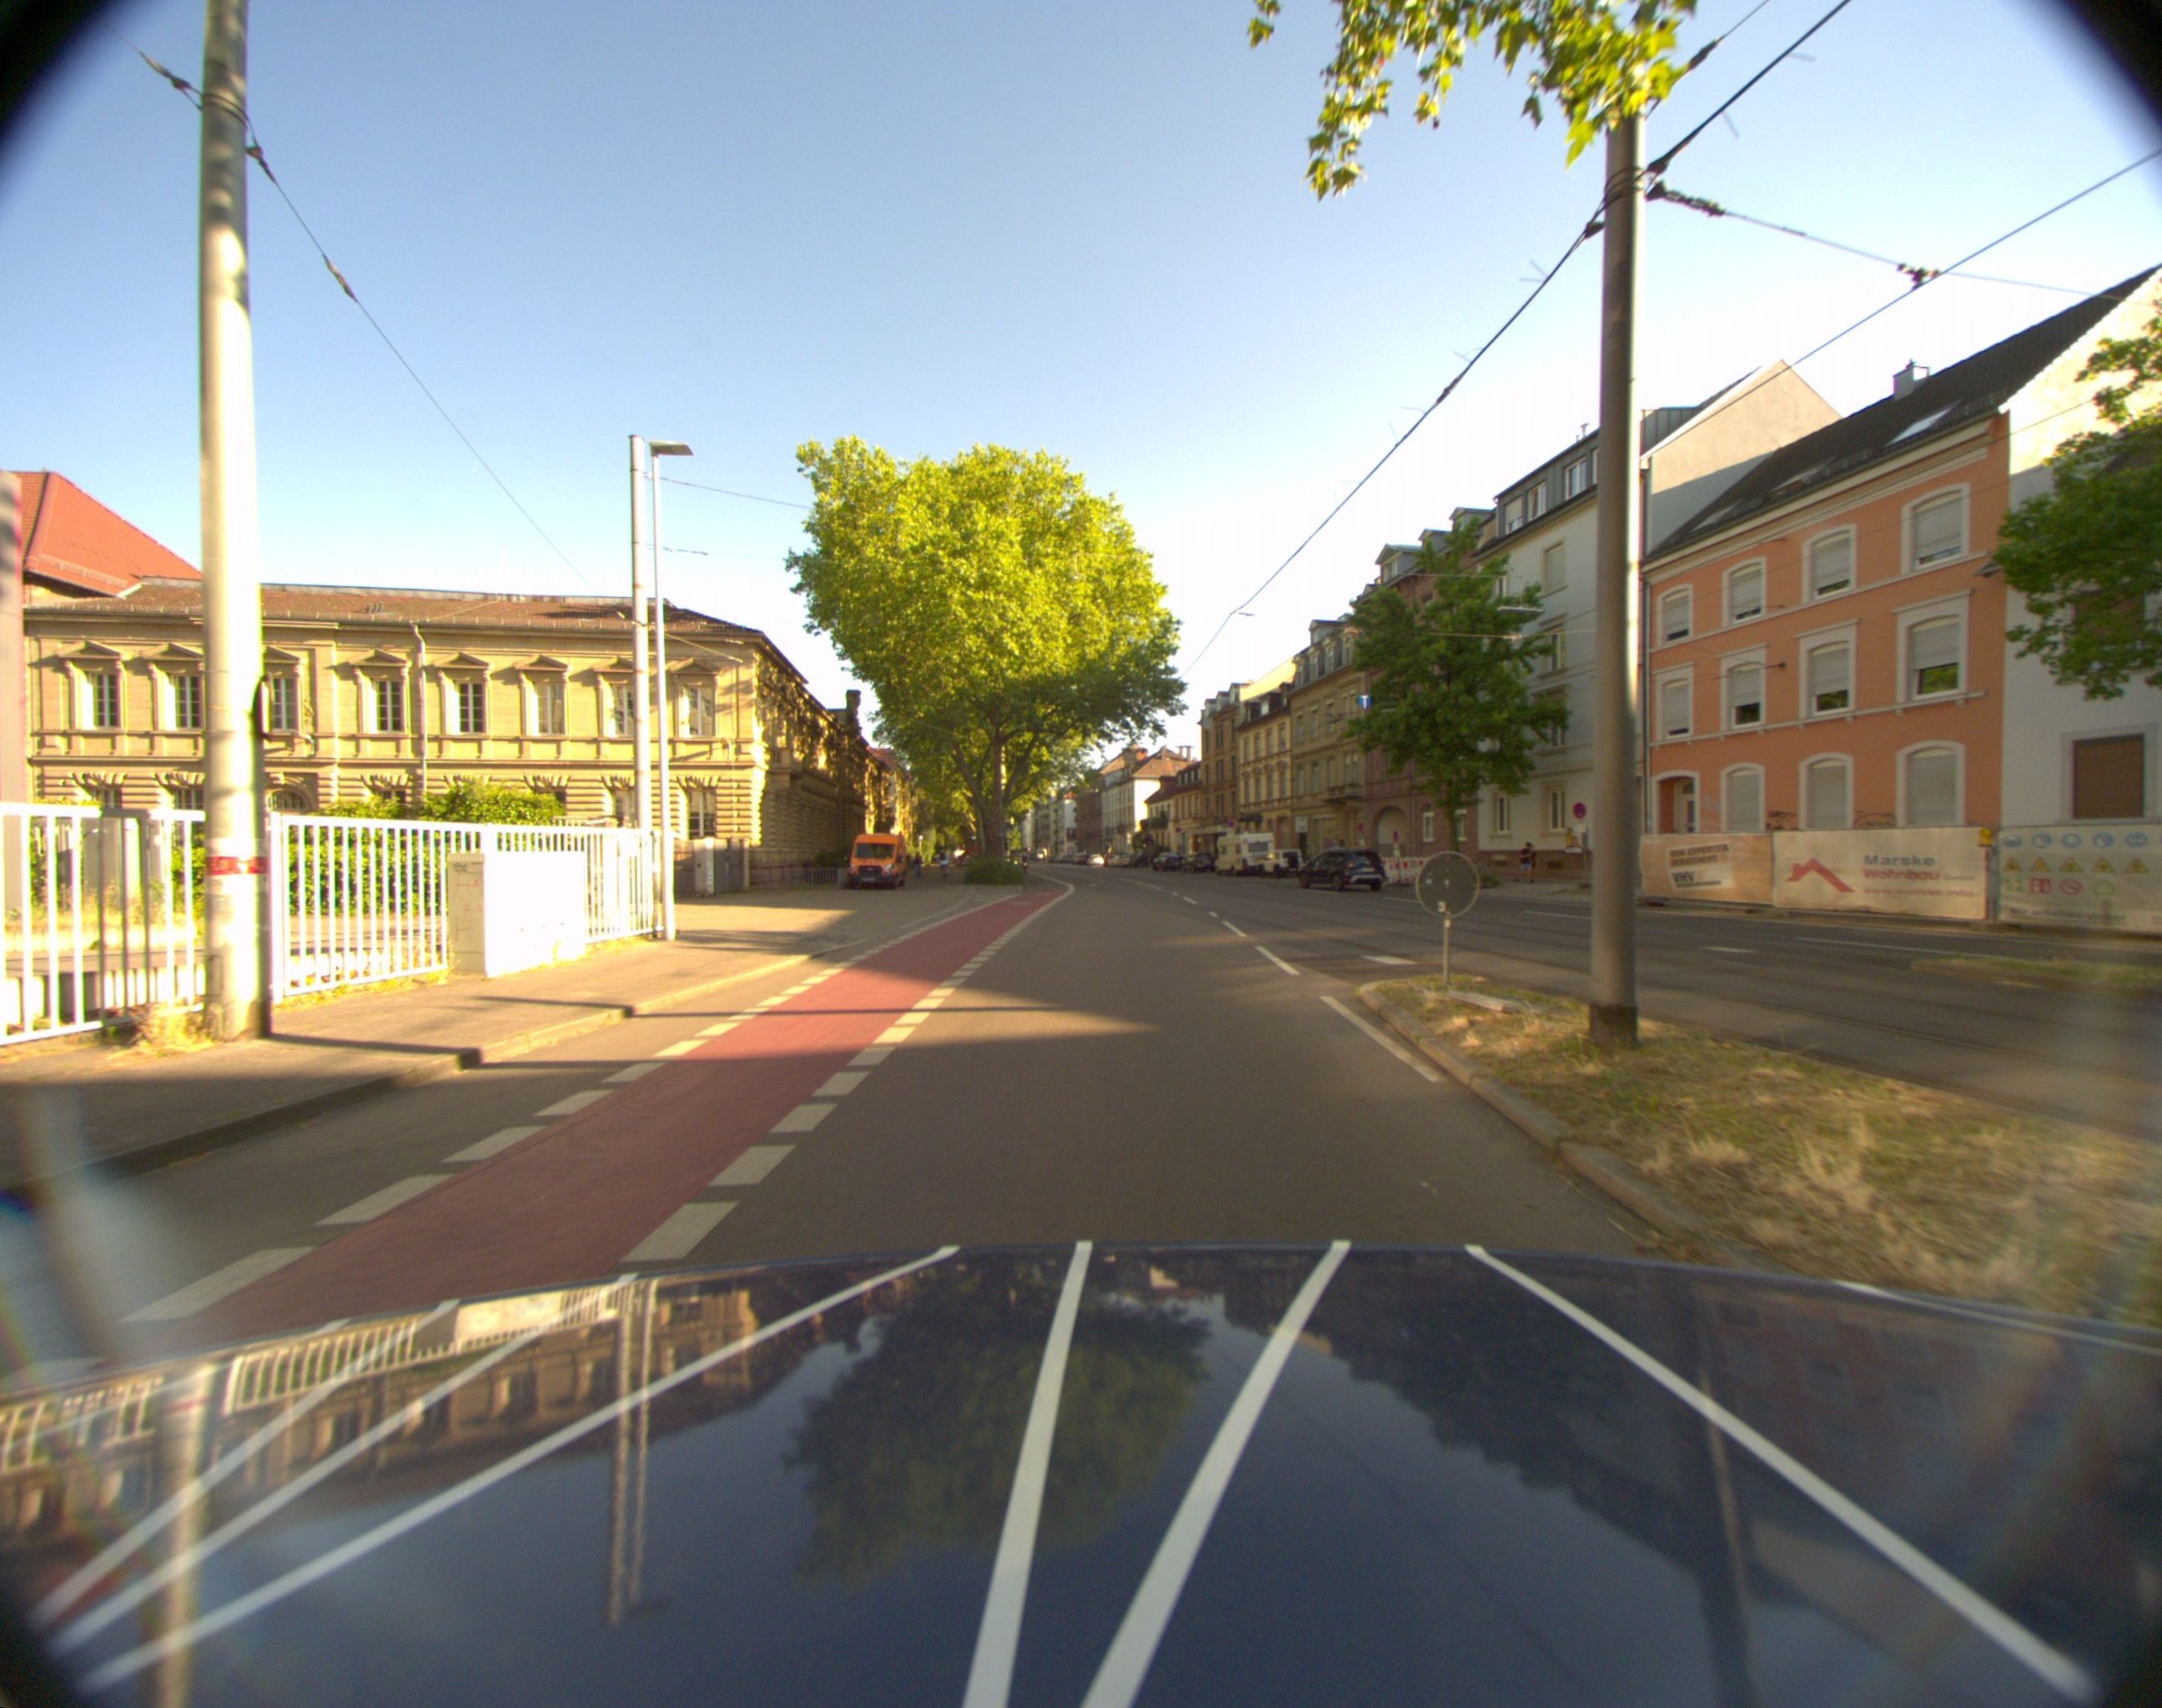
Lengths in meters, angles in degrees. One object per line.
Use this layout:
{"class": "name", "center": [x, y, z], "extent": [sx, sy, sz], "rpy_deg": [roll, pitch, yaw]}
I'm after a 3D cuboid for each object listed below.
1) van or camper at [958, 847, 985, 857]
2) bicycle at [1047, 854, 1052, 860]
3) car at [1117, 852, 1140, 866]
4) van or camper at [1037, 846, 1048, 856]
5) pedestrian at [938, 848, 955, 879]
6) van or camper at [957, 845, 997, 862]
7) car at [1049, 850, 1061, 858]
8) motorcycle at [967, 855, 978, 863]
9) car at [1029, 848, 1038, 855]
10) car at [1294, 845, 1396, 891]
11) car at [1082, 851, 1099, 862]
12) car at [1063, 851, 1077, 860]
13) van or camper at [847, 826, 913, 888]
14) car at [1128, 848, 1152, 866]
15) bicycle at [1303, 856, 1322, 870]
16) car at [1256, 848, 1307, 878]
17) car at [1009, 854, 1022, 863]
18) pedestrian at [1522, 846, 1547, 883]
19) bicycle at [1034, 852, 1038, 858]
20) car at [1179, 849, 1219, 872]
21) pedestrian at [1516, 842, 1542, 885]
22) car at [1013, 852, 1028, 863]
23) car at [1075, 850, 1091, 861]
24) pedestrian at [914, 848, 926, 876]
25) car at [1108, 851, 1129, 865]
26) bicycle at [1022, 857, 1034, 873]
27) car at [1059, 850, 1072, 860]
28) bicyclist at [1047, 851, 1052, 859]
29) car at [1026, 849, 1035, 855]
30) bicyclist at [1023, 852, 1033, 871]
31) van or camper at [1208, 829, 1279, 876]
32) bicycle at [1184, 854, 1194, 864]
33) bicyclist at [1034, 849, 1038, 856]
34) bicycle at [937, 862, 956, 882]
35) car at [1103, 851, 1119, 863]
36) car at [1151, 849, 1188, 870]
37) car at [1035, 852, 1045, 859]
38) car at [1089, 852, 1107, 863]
{"class": "van or camper", "center": [-25.178, -0.492, 174.247], "extent": [6.104, 2.417, 2.426], "rpy_deg": [0, 1, -8]}
{"class": "bicycle", "center": [-5.869, 0.533, 141.471], "extent": [0.715, 1.131, 2.118], "rpy_deg": [0, 0, -8]}
{"class": "car", "center": [5.373, 0.574, 86.178], "extent": [1.669, 1.446, 4.400], "rpy_deg": [-3, 1, -9]}
{"class": "van or camper", "center": [-8.695, -0.637, 173.132], "extent": [1.946, 2.267, 4.594], "rpy_deg": [-3, 1, -9]}
{"class": "pedestrian", "center": [-7.244, 0.509, 40.939], "extent": [0.671, 1.610, 1.102], "rpy_deg": [2, 1, 0]}
{"class": "van or camper", "center": [-15.747, -0.061, 114.871], "extent": [5.933, 2.484, 2.218], "rpy_deg": [0, 3, -11]}
{"class": "car", "center": [-5.321, 0.030, 153.314], "extent": [1.809, 1.534, 3.915], "rpy_deg": [-3, 1, -9]}
{"class": "motorcycle", "center": [-13.508, 0.639, 94.681], "extent": [0.394, 1.048, 1.274], "rpy_deg": [1, 1, 45]}
{"class": "car", "center": [-12.317, -0.671, 198.202], "extent": [1.809, 1.534, 3.915], "rpy_deg": [-3, 1, -9]}
{"class": "car", "center": [10.371, 0.516, 30.243], "extent": [2.000, 1.679, 4.305], "rpy_deg": [0, 0, -10]}
{"class": "car", "center": [1.369, 0.378, 111.925], "extent": [1.799, 1.587, 4.080], "rpy_deg": [-3, 1, -9]}
{"class": "car", "center": [-1.984, 0.285, 131.835], "extent": [1.799, 1.368, 4.080], "rpy_deg": [-3, 1, -9]}
{"class": "van or camper", "center": [-8.960, 0.113, 34.304], "extent": [2.042, 2.544, 5.769], "rpy_deg": [0, 0, -7]}
{"class": "car", "center": [6.330, 0.309, 81.873], "extent": [1.730, 1.736, 3.622], "rpy_deg": [-4, 1, -8]}
{"class": "bicycle", "center": [15.584, 0.593, 51.193], "extent": [0.580, 0.919, 1.790], "rpy_deg": [0, 0, -6]}
{"class": "car", "center": [12.301, 0.521, 46.705], "extent": [1.636, 1.696, 3.367], "rpy_deg": [-3, 1, -11]}
{"class": "car", "center": [-10.568, 0.694, 122.147], "extent": [1.741, 1.365, 3.915], "rpy_deg": [-3, 1, -9]}
{"class": "pedestrian", "center": [18.174, 0.419, 30.440], "extent": [0.577, 1.453, 0.607], "rpy_deg": [-3, 1, -10]}
{"class": "bicycle", "center": [-9.456, 0.218, 160.901], "extent": [0.715, 1.131, 2.118], "rpy_deg": [0, 0, -8]}
{"class": "car", "center": [9.624, 0.502, 62.278], "extent": [1.816, 1.696, 4.439], "rpy_deg": [-4, 1, -10]}
{"class": "pedestrian", "center": [17.585, 0.369, 29.833], "extent": [0.569, 1.644, 0.687], "rpy_deg": [-2, 1, -4]}
{"class": "car", "center": [-8.533, 0.452, 107.257], "extent": [1.741, 1.365, 3.915], "rpy_deg": [-3, 1, -9]}
{"class": "car", "center": [0.244, 0.248, 117.281], "extent": [1.799, 1.631, 4.250], "rpy_deg": [-3, 1, -9]}
{"class": "pedestrian", "center": [-10.120, 0.507, 47.895], "extent": [0.652, 1.726, 1.006], "rpy_deg": [0, 1, -8]}
{"class": "car", "center": [4.490, 0.472, 91.527], "extent": [1.588, 1.482, 4.466], "rpy_deg": [-3, 1, -9]}
{"class": "bicycle", "center": [-4.055, 0.834, 57.982], "extent": [0.715, 1.131, 2.118], "rpy_deg": [0, 0, -8]}
{"class": "car", "center": [-2.866, 0.193, 137.427], "extent": [1.799, 1.617, 4.080], "rpy_deg": [-3, 1, -9]}
{"class": "bicyclist", "center": [-5.885, 0.183, 141.451], "extent": [0.715, 1.508, 0.953], "rpy_deg": [0, 1, -8]}
{"class": "car", "center": [-13.895, -0.588, 208.379], "extent": [1.810, 1.534, 3.915], "rpy_deg": [-3, 1, -11]}
{"class": "bicyclist", "center": [-4.046, 0.536, 57.970], "extent": [0.715, 1.435, 0.953], "rpy_deg": [0, 1, -8]}
{"class": "van or camper", "center": [11.129, -0.123, 52.860], "extent": [2.427, 2.930, 7.245], "rpy_deg": [-4, 1, -7]}
{"class": "bicycle", "center": [11.537, 0.519, 81.479], "extent": [0.505, 0.963, 2.118], "rpy_deg": [0, 0, -8]}
{"class": "bicyclist", "center": [-9.456, -0.238, 160.859], "extent": [0.715, 1.508, 0.953], "rpy_deg": [0, 1, -7]}
{"class": "bicycle", "center": [-7.262, 0.956, 41.014], "extent": [0.676, 1.026, 1.900], "rpy_deg": [2, 1, -1]}
{"class": "car", "center": [3.799, 0.393, 96.889], "extent": [1.423, 1.502, 3.323], "rpy_deg": [-2, 1, -6]}
{"class": "car", "center": [8.102, 0.459, 69.805], "extent": [2.000, 1.693, 4.746], "rpy_deg": [-4, 1, -10]}
{"class": "car", "center": [-9.631, 0.362, 178.547], "extent": [1.809, 1.534, 3.915], "rpy_deg": [-3, 1, -9]}
{"class": "car", "center": [2.406, 0.437, 107.257], "extent": [1.870, 1.423, 4.080], "rpy_deg": [-3, 1, -9]}
